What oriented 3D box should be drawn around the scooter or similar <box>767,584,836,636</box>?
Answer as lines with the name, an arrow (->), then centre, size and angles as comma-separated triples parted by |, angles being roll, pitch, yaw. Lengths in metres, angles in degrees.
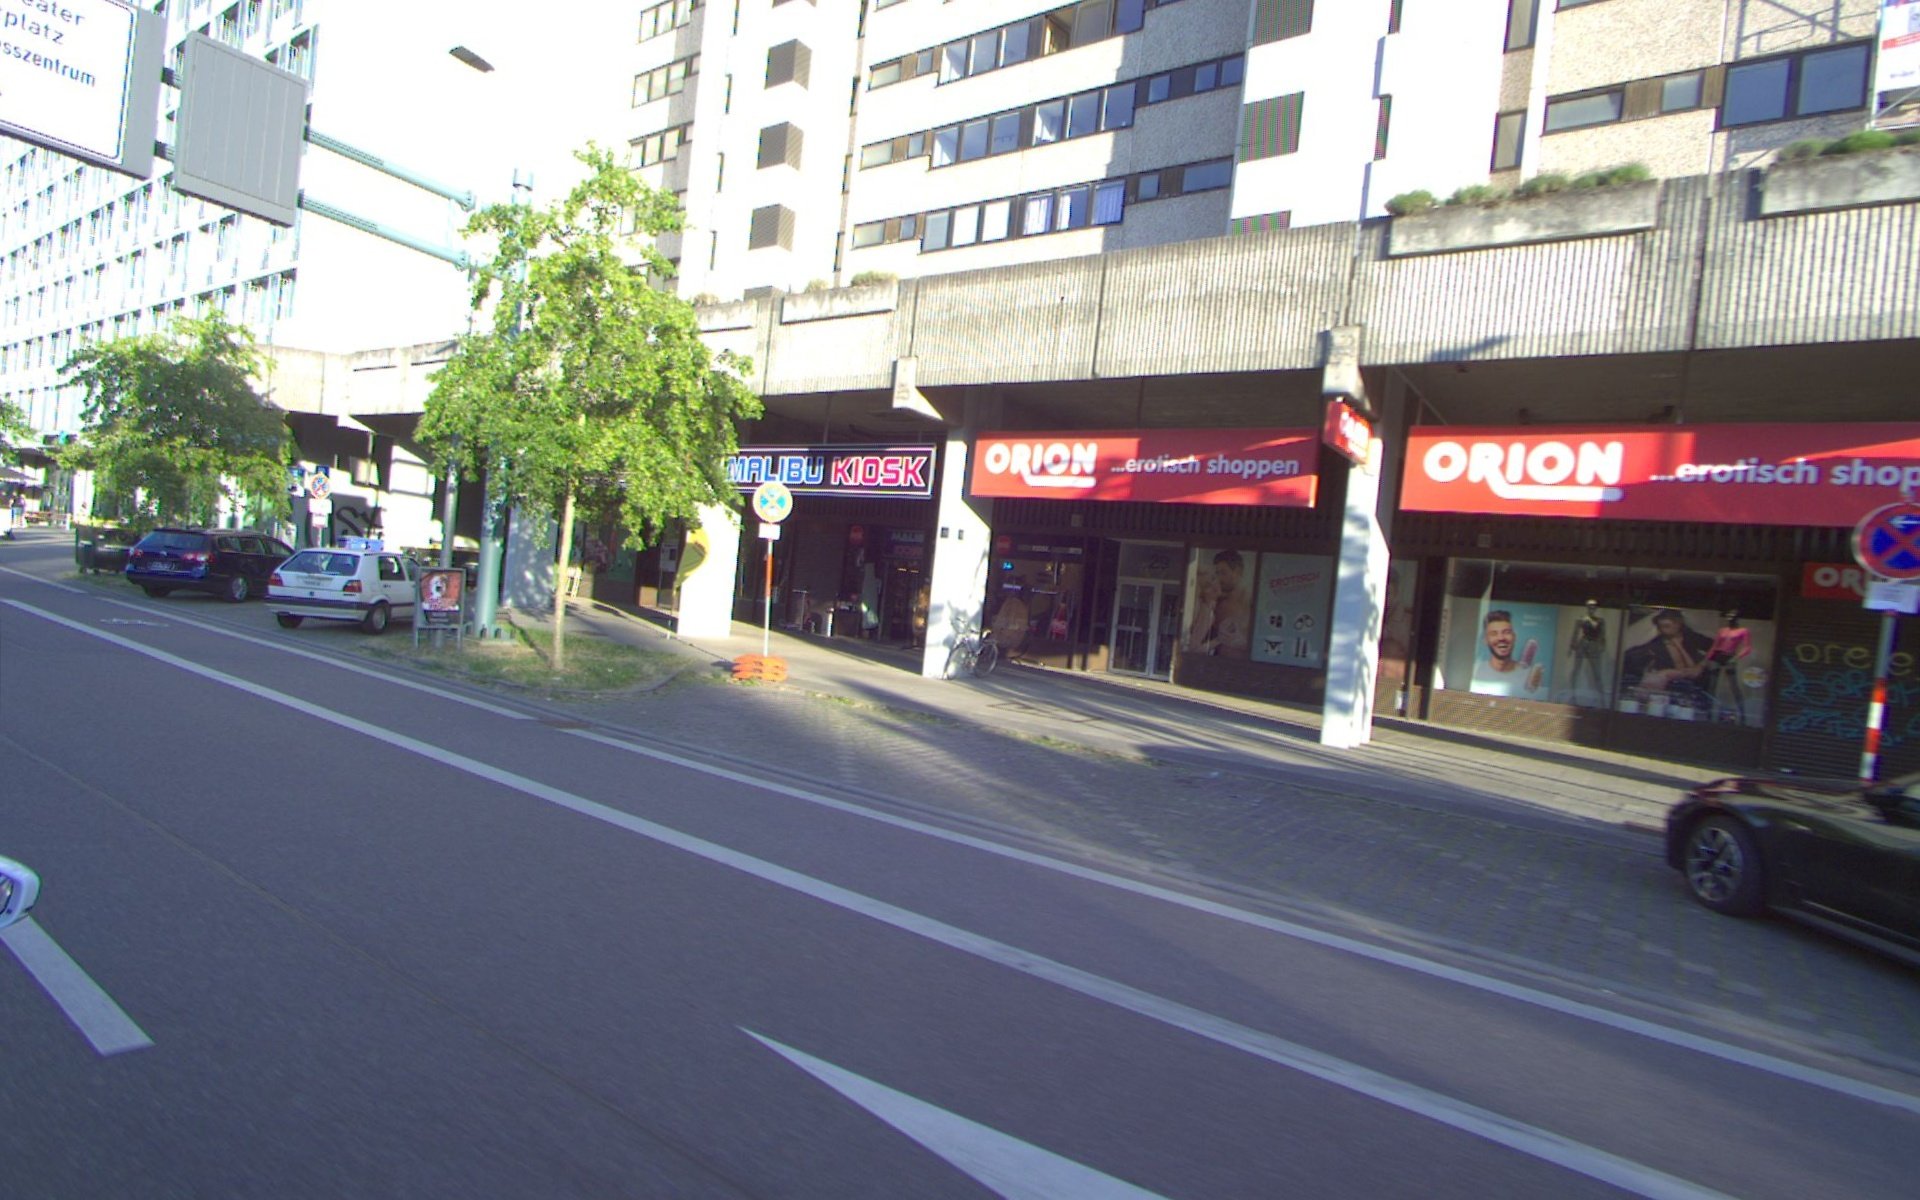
scooter or similar -> -4.272, 0.254, 26.984 | 1.798, 1.174, 0.402 | 7, -1, 26

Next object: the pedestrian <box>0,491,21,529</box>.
pedestrian -> -48.369, -4.563, 51.189 | 0.753, 1.849, 0.928 | 3, 3, -45

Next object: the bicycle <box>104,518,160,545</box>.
bicycle -> -37.797, -3.121, 45.940 | 0.556, 1.023, 1.884 | 6, 2, 34

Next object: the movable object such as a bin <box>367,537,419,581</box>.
movable object such as a bin -> -19.466, -1.411, 34.524 | 1.183, 1.347, 1.073 | 7, 1, 35

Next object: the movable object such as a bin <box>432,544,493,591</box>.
movable object such as a bin -> -15.892, -1.041, 32.124 | 1.284, 1.315, 1.182 | 7, 1, 34

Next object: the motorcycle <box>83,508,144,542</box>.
motorcycle -> -40.630, -3.574, 48.299 | 0.660, 1.405, 2.116 | 7, 2, 22

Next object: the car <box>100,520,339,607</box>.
car -> -15.922, -0.779, 22.017 | 1.904, 1.528, 4.663 | 5, 2, -3

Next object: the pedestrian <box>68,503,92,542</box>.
pedestrian -> -38.970, -3.434, 44.552 | 0.632, 1.641, 0.576 | 7, 3, 33

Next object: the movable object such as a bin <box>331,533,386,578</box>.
movable object such as a bin -> -19.990, -1.470, 33.453 | 1.263, 1.347, 1.104 | 7, 3, 35

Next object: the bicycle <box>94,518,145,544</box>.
bicycle -> -39.432, -3.234, 47.207 | 0.542, 0.999, 1.699 | 7, 2, 33

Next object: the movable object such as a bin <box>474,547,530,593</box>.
movable object such as a bin -> -15.176, -0.992, 33.332 | 1.107, 1.330, 1.182 | 7, 1, 34

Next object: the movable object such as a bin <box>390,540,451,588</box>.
movable object such as a bin -> -16.594, -1.100, 30.943 | 1.246, 1.341, 1.180 | 7, 3, 34

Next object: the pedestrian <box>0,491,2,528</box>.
pedestrian -> -48.775, -4.596, 50.651 | 0.741, 1.874, 0.928 | 2, 4, -45

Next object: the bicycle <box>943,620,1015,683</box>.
bicycle -> 0.359, 0.924, 18.252 | 0.426, 1.062, 1.571 | 7, 2, 34

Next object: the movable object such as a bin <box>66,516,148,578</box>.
movable object such as a bin -> -20.518, -1.273, 24.203 | 1.338, 1.319, 1.085 | 6, 3, 29

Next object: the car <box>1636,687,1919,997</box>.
car -> 6.242, 1.543, 5.359 | 1.781, 1.472, 4.600 | 6, 1, -5

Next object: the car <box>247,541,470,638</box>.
car -> -10.767, -0.220, 18.380 | 1.719, 1.435, 3.986 | 5, 1, -2

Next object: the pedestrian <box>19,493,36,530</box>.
pedestrian -> -47.889, -4.531, 51.660 | 0.616, 1.836, 0.767 | 1, 4, -45
